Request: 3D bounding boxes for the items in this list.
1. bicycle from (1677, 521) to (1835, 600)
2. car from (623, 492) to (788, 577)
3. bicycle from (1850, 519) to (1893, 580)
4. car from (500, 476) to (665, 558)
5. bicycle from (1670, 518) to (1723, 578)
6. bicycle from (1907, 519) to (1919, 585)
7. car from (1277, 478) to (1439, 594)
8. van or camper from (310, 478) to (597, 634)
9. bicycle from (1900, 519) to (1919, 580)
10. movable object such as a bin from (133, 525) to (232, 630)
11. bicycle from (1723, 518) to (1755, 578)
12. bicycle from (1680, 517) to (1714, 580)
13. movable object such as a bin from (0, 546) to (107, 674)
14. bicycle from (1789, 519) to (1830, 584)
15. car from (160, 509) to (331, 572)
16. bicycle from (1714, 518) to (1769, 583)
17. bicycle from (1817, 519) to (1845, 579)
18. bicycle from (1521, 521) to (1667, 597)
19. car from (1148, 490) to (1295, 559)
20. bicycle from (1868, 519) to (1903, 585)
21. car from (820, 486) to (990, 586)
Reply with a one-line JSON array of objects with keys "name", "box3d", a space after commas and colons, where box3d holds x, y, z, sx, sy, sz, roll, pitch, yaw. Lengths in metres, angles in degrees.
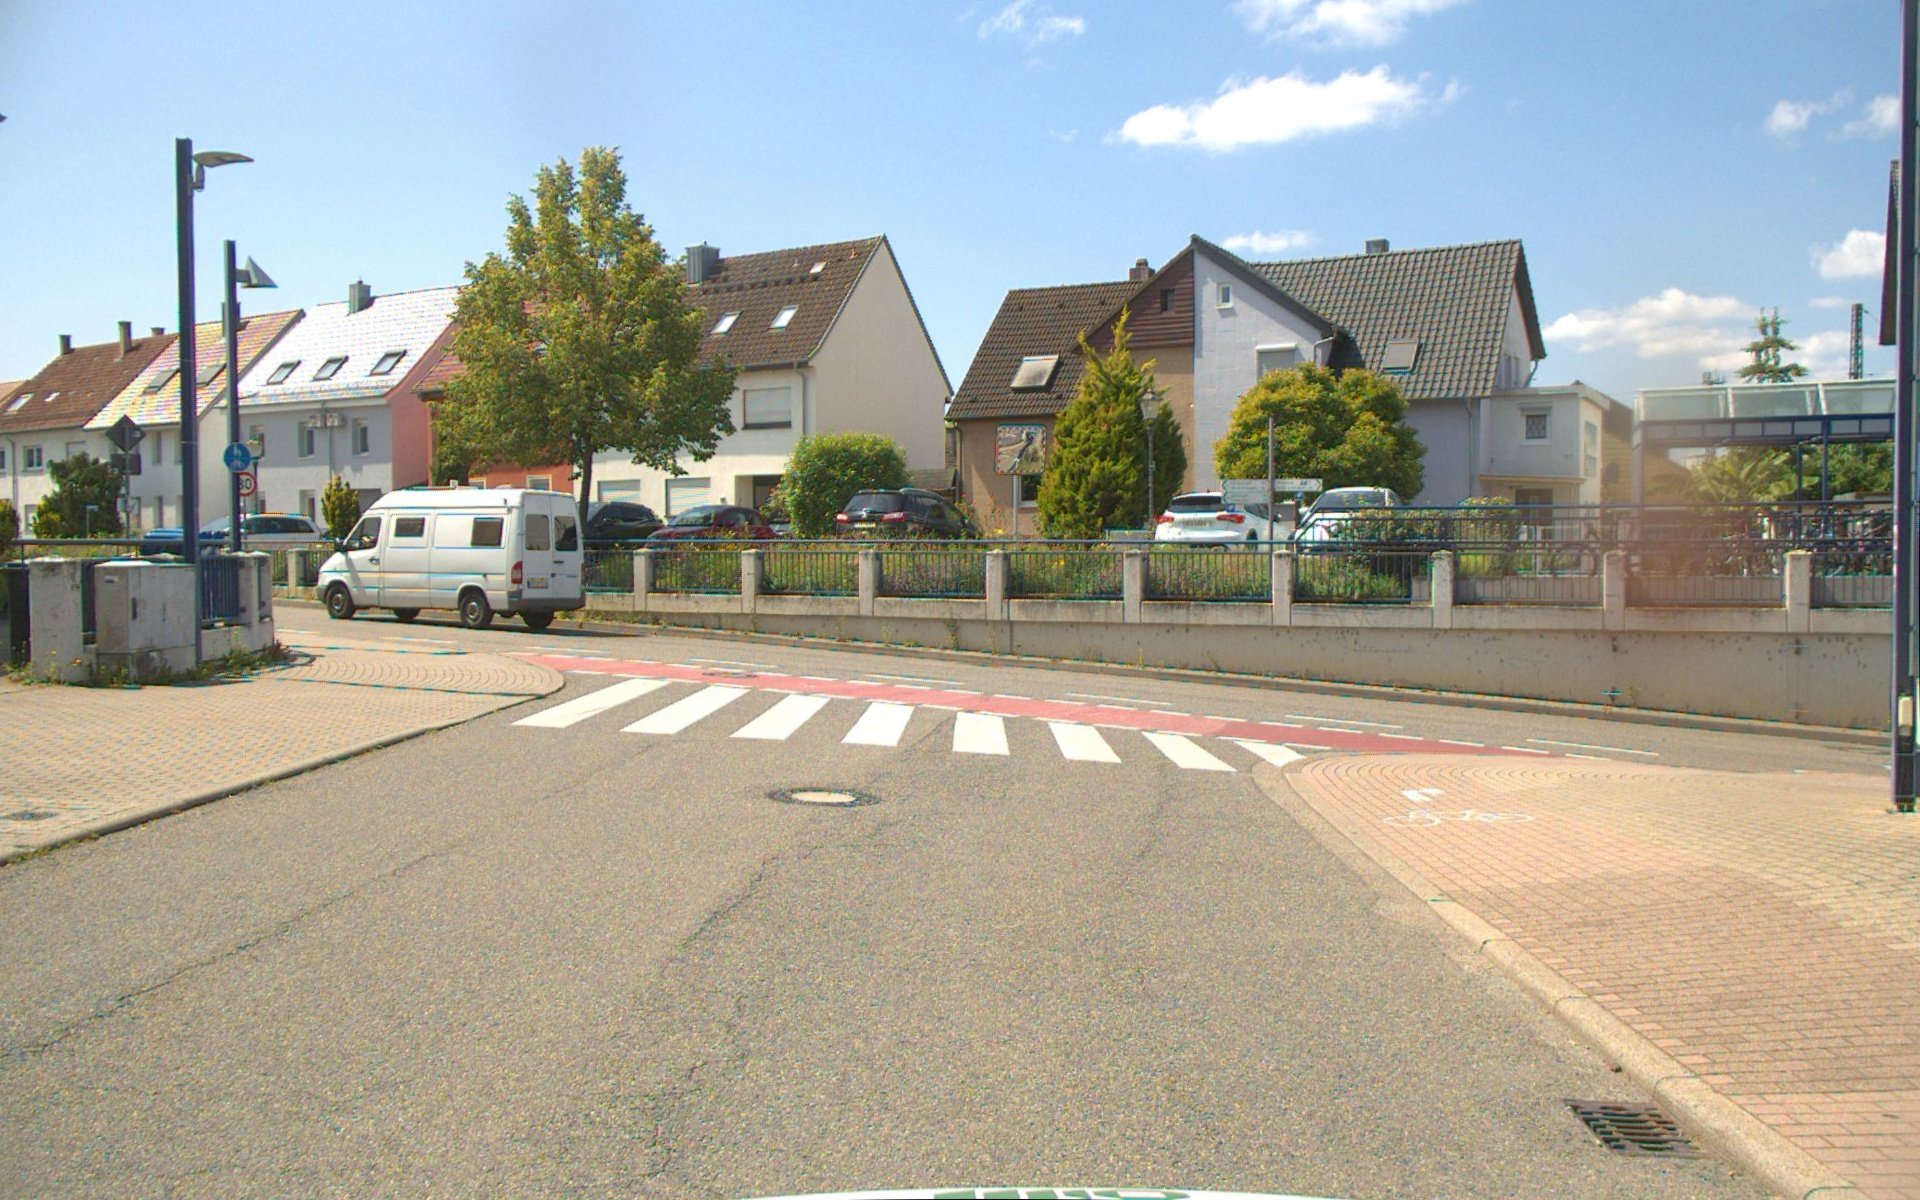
[{"name": "bicycle", "box3d": [11.910, -0.602, 24.803, 2.071, 1.145, 0.392, 1, 2, 20]}, {"name": "car", "box3d": [-5.591, -1.418, 36.699, 1.831, 1.613, 3.607, 5, 2, 25]}, {"name": "bicycle", "box3d": [15.703, -0.877, 28.510, 0.417, 1.012, 1.965, 1, 2, 23]}, {"name": "car", "box3d": [-8.761, -1.908, 38.658, 1.831, 1.613, 3.607, 5, 2, 25]}, {"name": "bicycle", "box3d": [12.957, -0.917, 29.079, 0.447, 1.012, 1.881, 2, 2, 36]}, {"name": "bicycle", "box3d": [15.351, -0.765, 26.286, 0.427, 1.012, 2.278, 1, 2, 28]}, {"name": "car", "box3d": [7.338, -1.112, 30.198, 1.955, 1.828, 4.193, 5, 2, 25]}, {"name": "van or camper", "box3d": [-9.697, -0.852, 31.584, 5.274, 2.676, 2.001, 3, 0, 28]}, {"name": "bicycle", "box3d": [16.427, -0.856, 28.082, 0.463, 1.012, 1.966, 1, 2, 20]}, {"name": "movable object such as a bin", "box3d": [-9.391, -0.279, 20.016, 0.825, 1.234, 1.272, 0, 1, -13]}, {"name": "bicycle", "box3d": [13.639, -0.908, 28.956, 0.365, 1.012, 1.963, 1, 2, 29]}, {"name": "bicycle", "box3d": [12.281, -0.867, 27.573, 0.325, 1.012, 2.077, 1, 2, 19]}, {"name": "movable object such as a bin", "box3d": [-9.260, 0.086, 16.658, 0.867, 1.246, 0.902, 1, 1, 1]}, {"name": "bicycle", "box3d": [13.727, -0.792, 26.703, 0.427, 1.012, 2.097, 2, 2, 31]}, {"name": "car", "box3d": [-20.474, -1.688, 47.565, 1.711, 1.514, 4.246, 5, 2, 32]}, {"name": "bicycle", "box3d": [12.732, -0.807, 26.918, 0.428, 1.012, 2.094, 2, 2, 36]}, {"name": "bicycle", "box3d": [15.065, -0.885, 28.601, 0.365, 1.012, 1.963, 1, 2, 29]}, {"name": "bicycle", "box3d": [9.782, -0.645, 25.564, 2.071, 1.145, 0.333, 1, 2, 20]}, {"name": "car", "box3d": [5.005, -1.401, 31.316, 1.790, 1.037, 3.456, 5, 2, 25]}, {"name": "bicycle", "box3d": [14.829, -0.777, 26.521, 0.427, 1.012, 2.278, 1, 2, 28]}, {"name": "car", "box3d": [-1.084, -1.294, 34.781, 1.831, 1.828, 3.997, 5, 2, 25]}]
